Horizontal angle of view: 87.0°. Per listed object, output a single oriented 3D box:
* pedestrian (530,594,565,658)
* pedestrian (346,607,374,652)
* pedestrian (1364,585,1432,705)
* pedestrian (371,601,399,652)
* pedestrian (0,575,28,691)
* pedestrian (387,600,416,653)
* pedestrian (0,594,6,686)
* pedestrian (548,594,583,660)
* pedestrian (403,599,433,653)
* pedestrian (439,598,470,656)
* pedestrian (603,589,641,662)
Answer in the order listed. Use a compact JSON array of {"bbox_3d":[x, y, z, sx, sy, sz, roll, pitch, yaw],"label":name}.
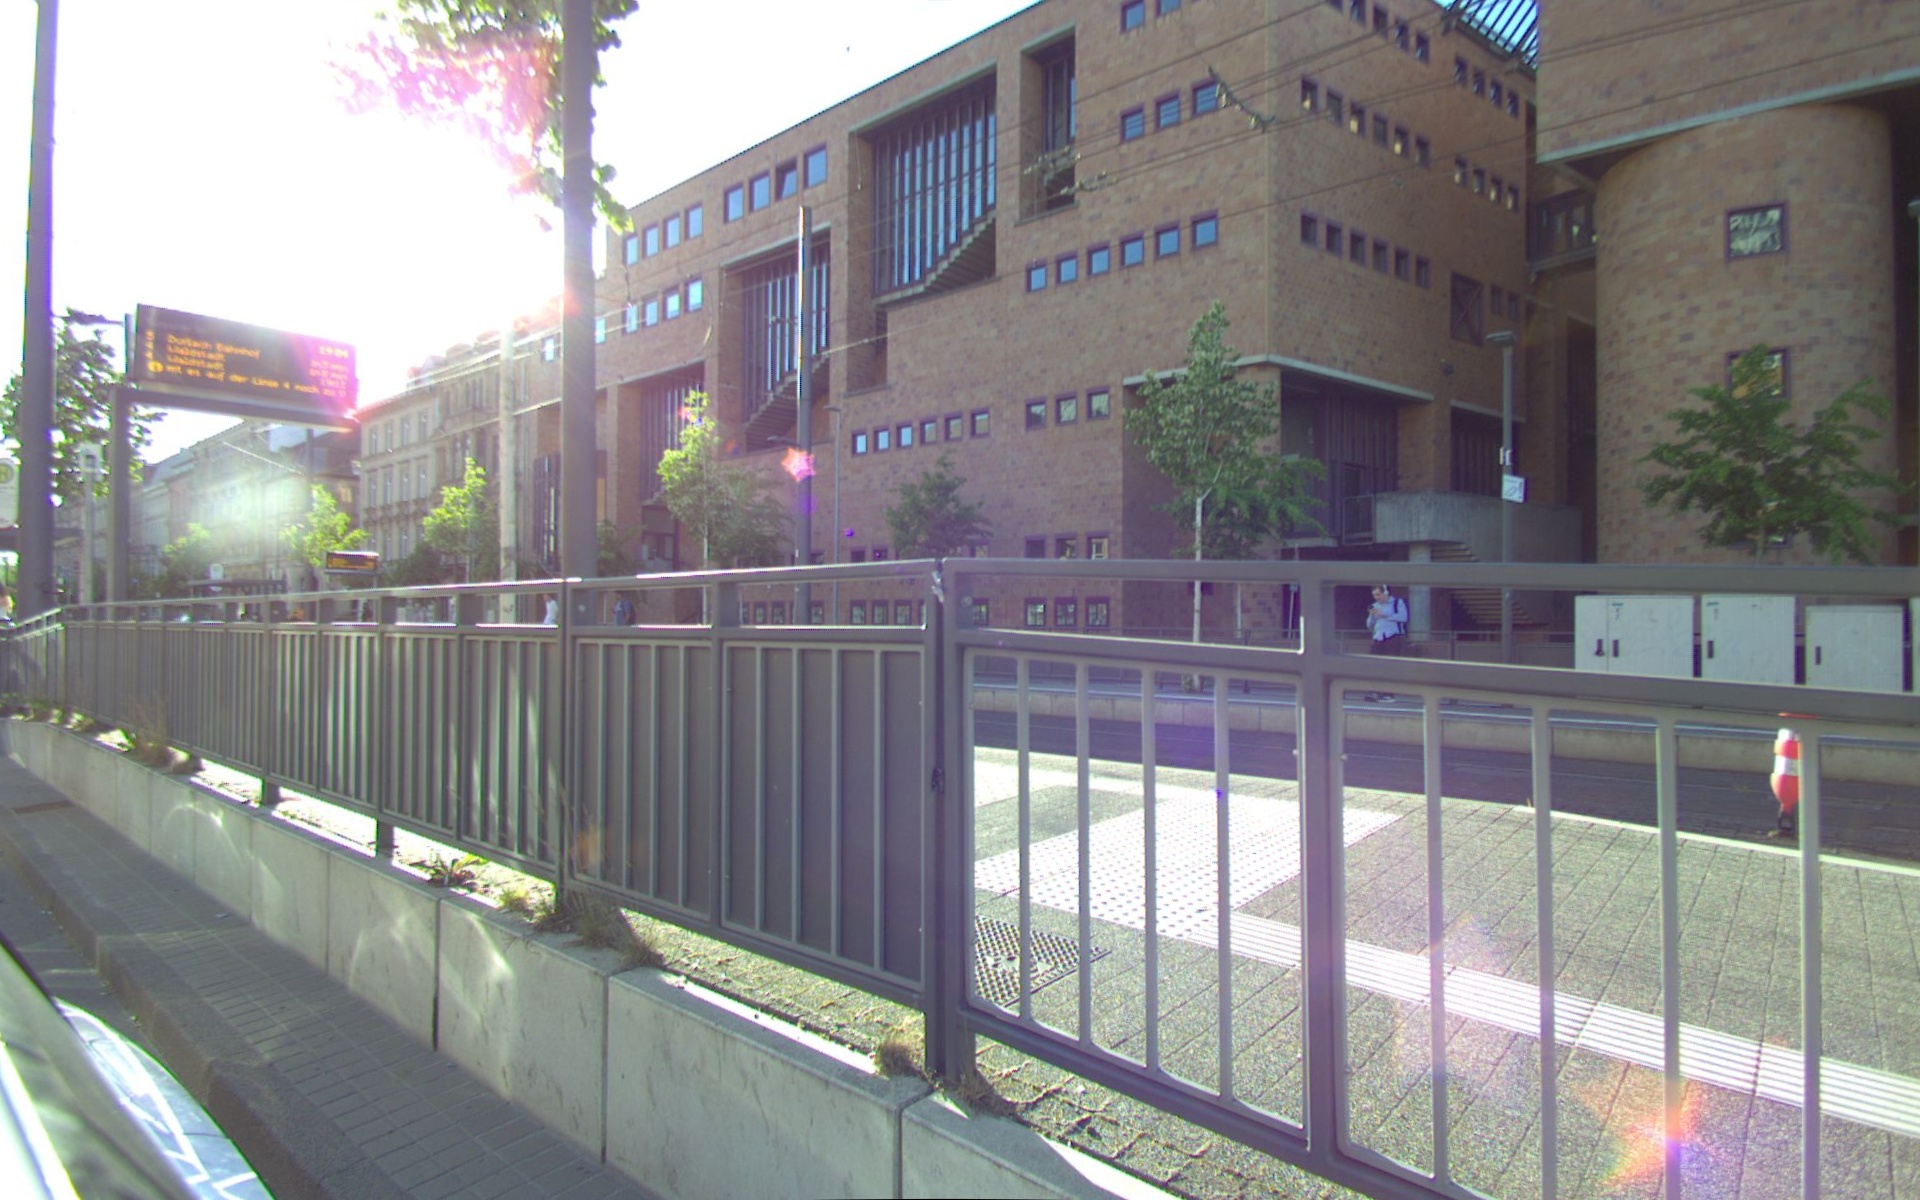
[{"bbox_3d":[-11.414,0.720,28.007,0.586,1.755,0.684,-2,-2,38],"label":"pedestrian"},{"bbox_3d":[-21.772,1.065,36.720,0.586,1.587,0.684,-2,-2,38],"label":"pedestrian"},{"bbox_3d":[5.811,0.586,13.428,0.653,1.546,0.693,-1,-2,38],"label":"pedestrian"},{"bbox_3d":[-19.864,0.911,34.968,0.586,1.755,0.684,-2,-2,38],"label":"pedestrian"},{"bbox_3d":[-17.174,0.579,17.946,0.771,2.029,0.883,1,-2,-32],"label":"pedestrian"},{"bbox_3d":[-18.872,0.902,34.217,0.586,1.755,0.684,-2,-2,38],"label":"pedestrian"},{"bbox_3d":[-21.726,0.893,22.437,0.881,2.029,0.773,-2,-2,45],"label":"pedestrian"},{"bbox_3d":[-10.697,0.735,27.430,0.586,1.755,0.684,-2,-2,38],"label":"pedestrian"},{"bbox_3d":[-17.822,0.860,33.259,0.586,1.755,0.684,-2,-2,38],"label":"pedestrian"},{"bbox_3d":[-15.679,0.832,31.393,0.586,1.755,0.684,-2,-2,38],"label":"pedestrian"},{"bbox_3d":[-8.242,0.614,24.676,0.586,1.755,0.684,-2,-2,38],"label":"pedestrian"}]
